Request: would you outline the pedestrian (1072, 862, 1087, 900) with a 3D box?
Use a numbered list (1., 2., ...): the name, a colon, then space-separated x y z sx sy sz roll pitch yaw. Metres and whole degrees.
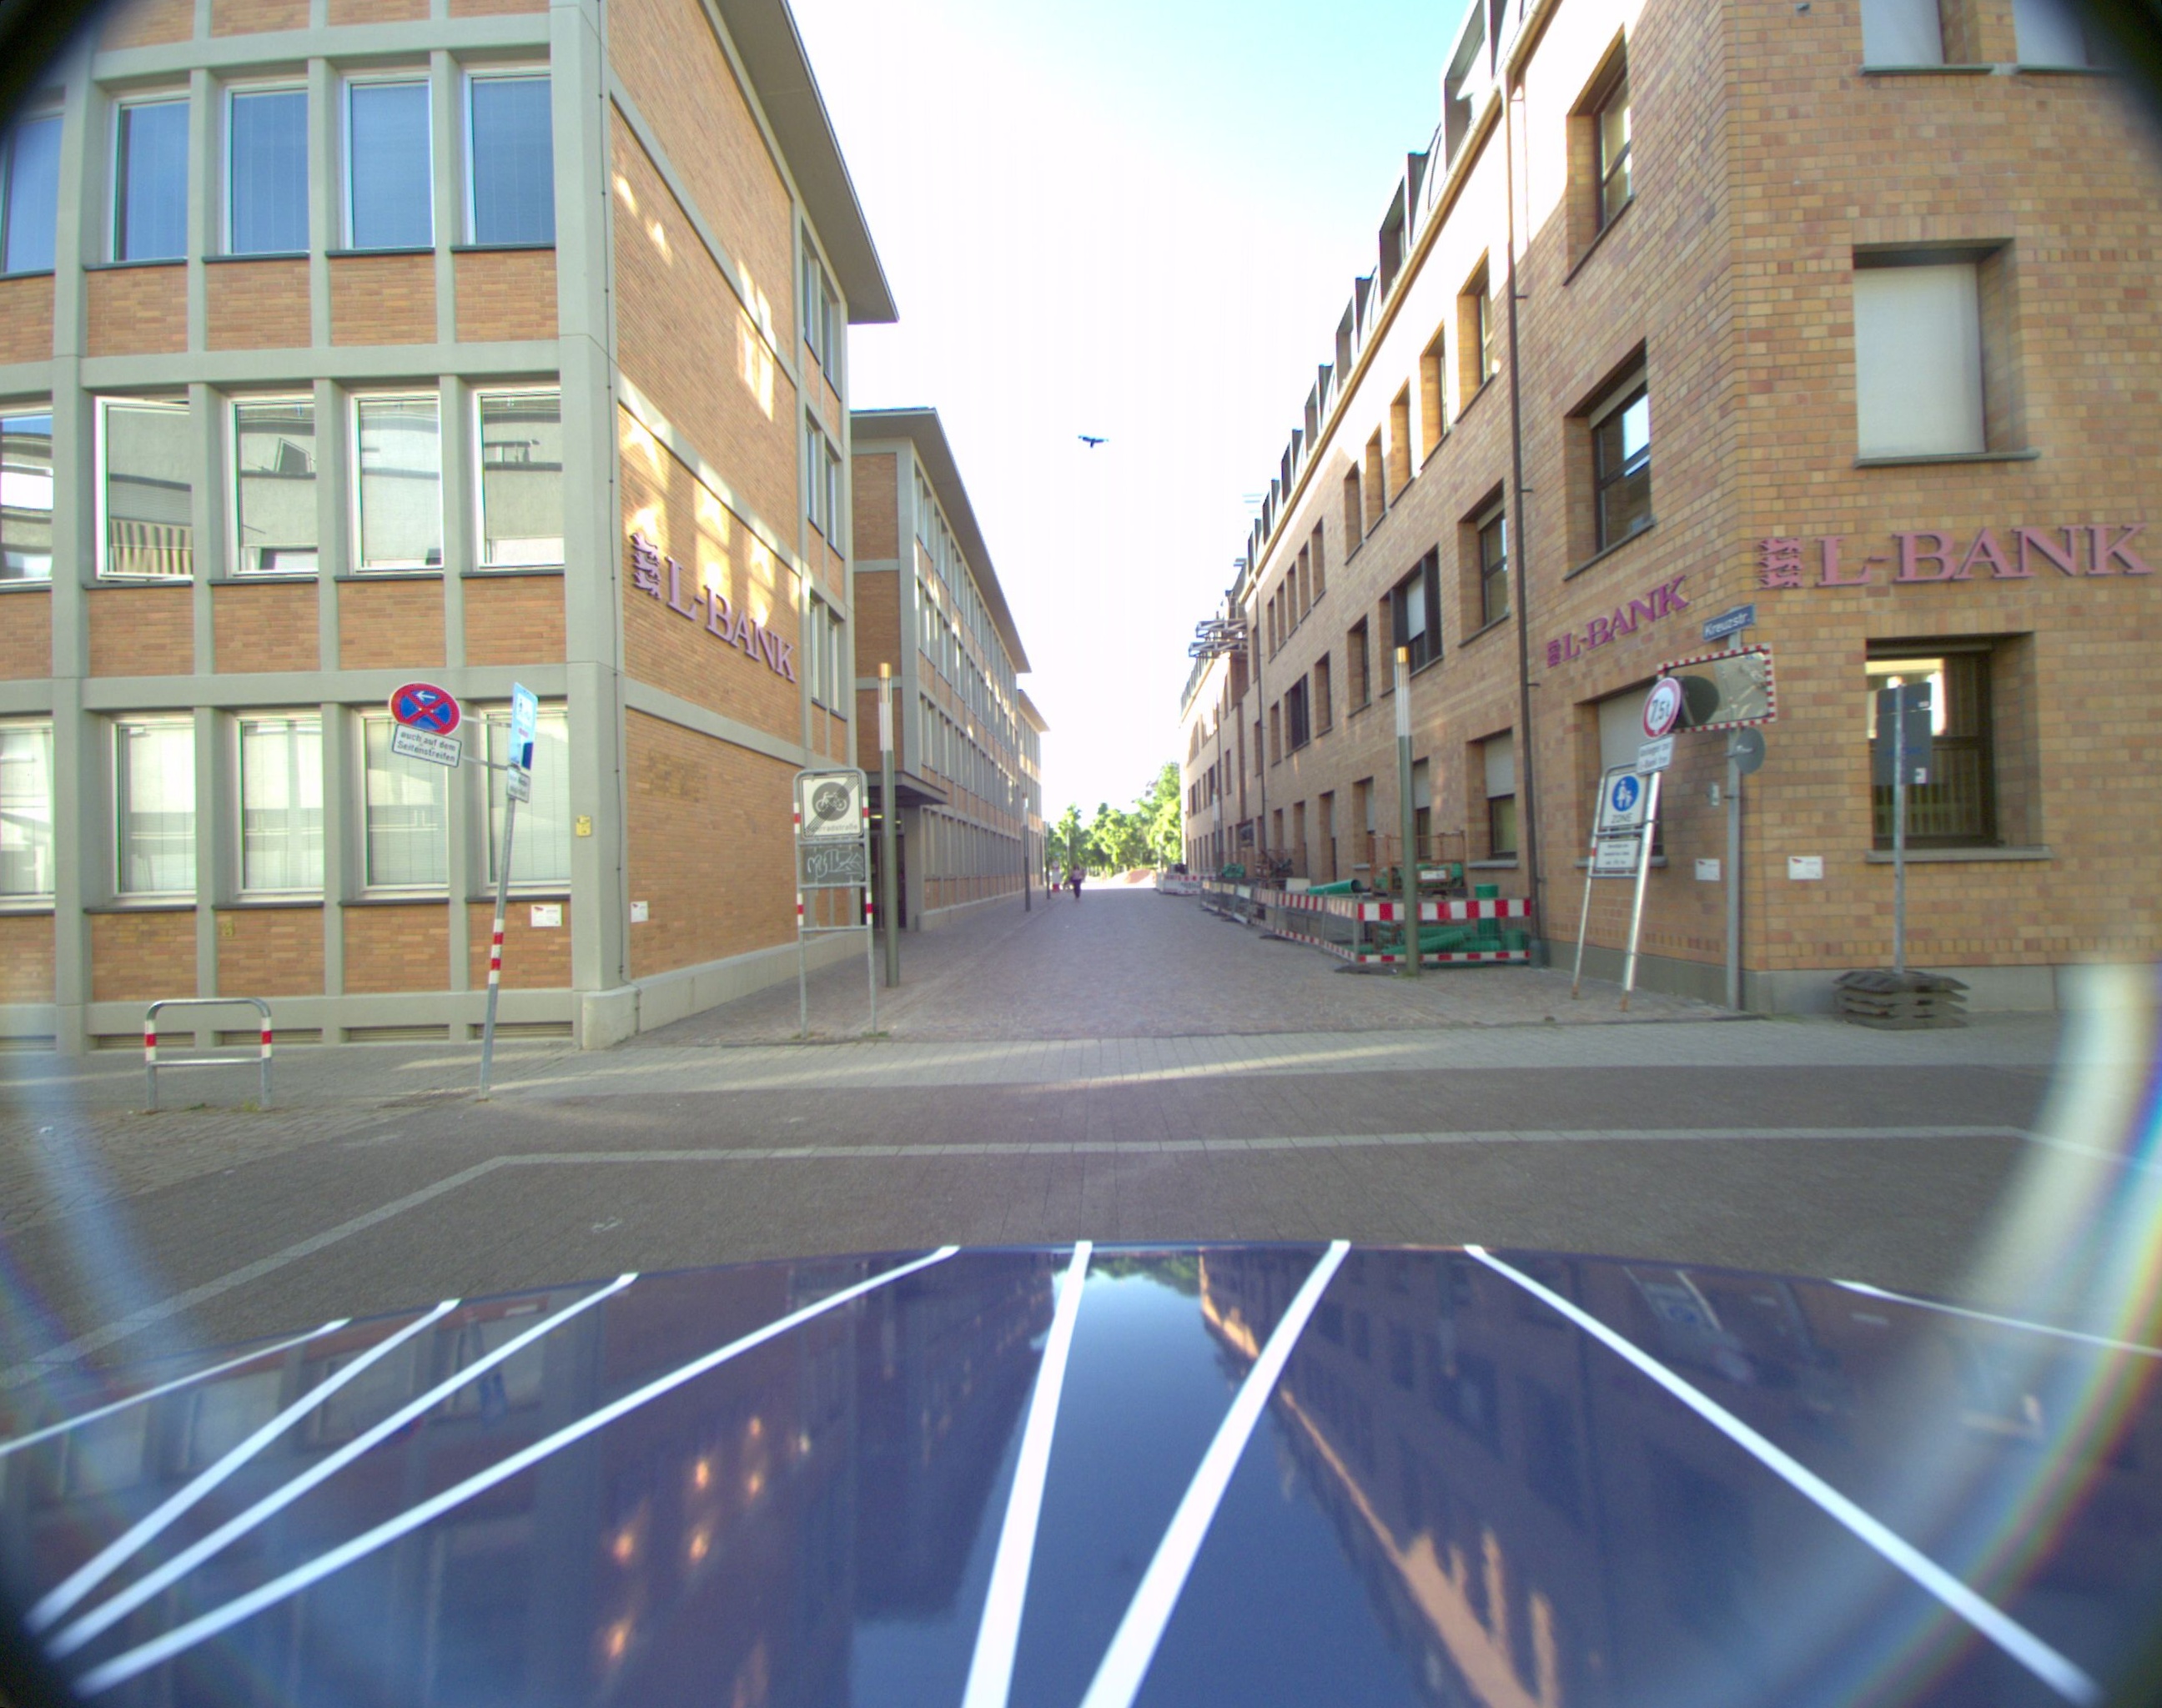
1. pedestrian: -0.062 1.282 36.112 0.638 1.774 0.652 -2 -3 2
